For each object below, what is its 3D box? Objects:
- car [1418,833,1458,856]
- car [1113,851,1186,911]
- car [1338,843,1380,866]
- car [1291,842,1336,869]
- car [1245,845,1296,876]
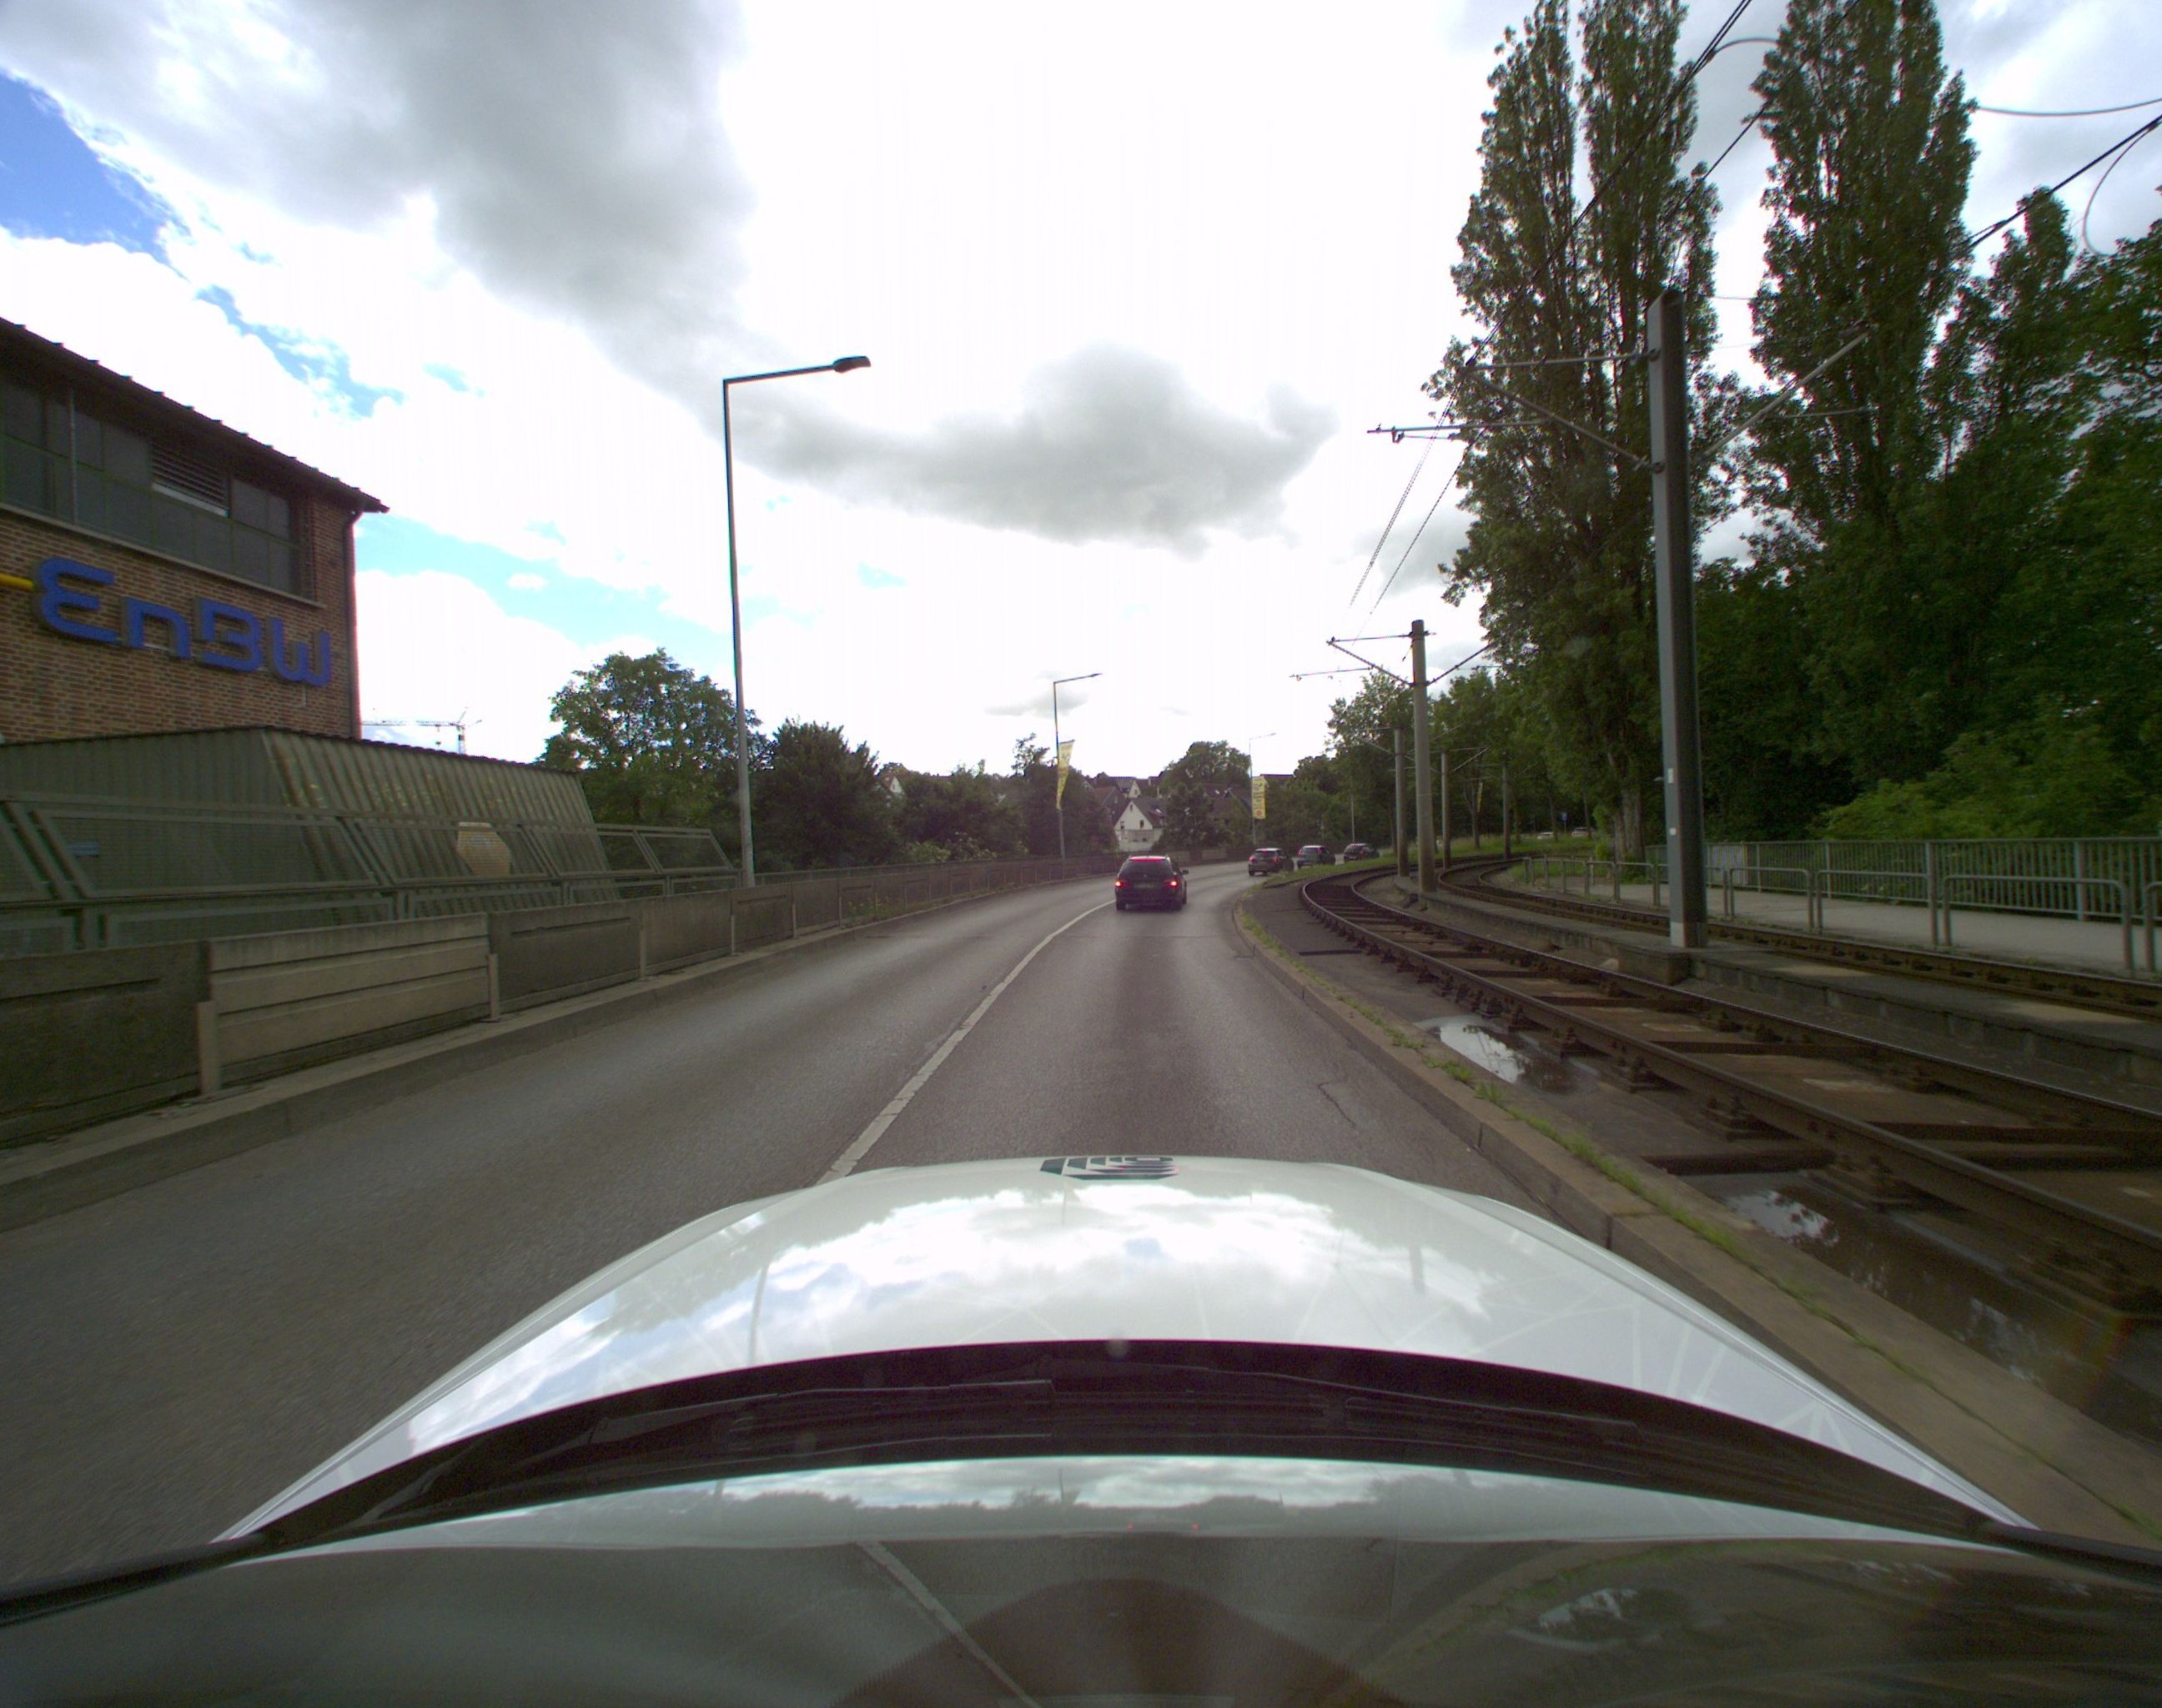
[{"bbox_3d":[31.558,-0.827,71.945,4.012,1.711,1.781,-5,1,-45],"label":"car"},{"bbox_3d":[2.062,0.727,23.430,1.749,1.516,4.453,-1,-1,9],"label":"car"},{"bbox_3d":[20.663,0.015,60.433,1.753,1.555,4.268,-2,0,34],"label":"car"},{"bbox_3d":[15.347,0.058,53.661,1.775,1.555,4.413,-3,0,30],"label":"car"},{"bbox_3d":[10.803,0.326,46.200,1.754,1.555,4.266,-3,0,27],"label":"car"}]
